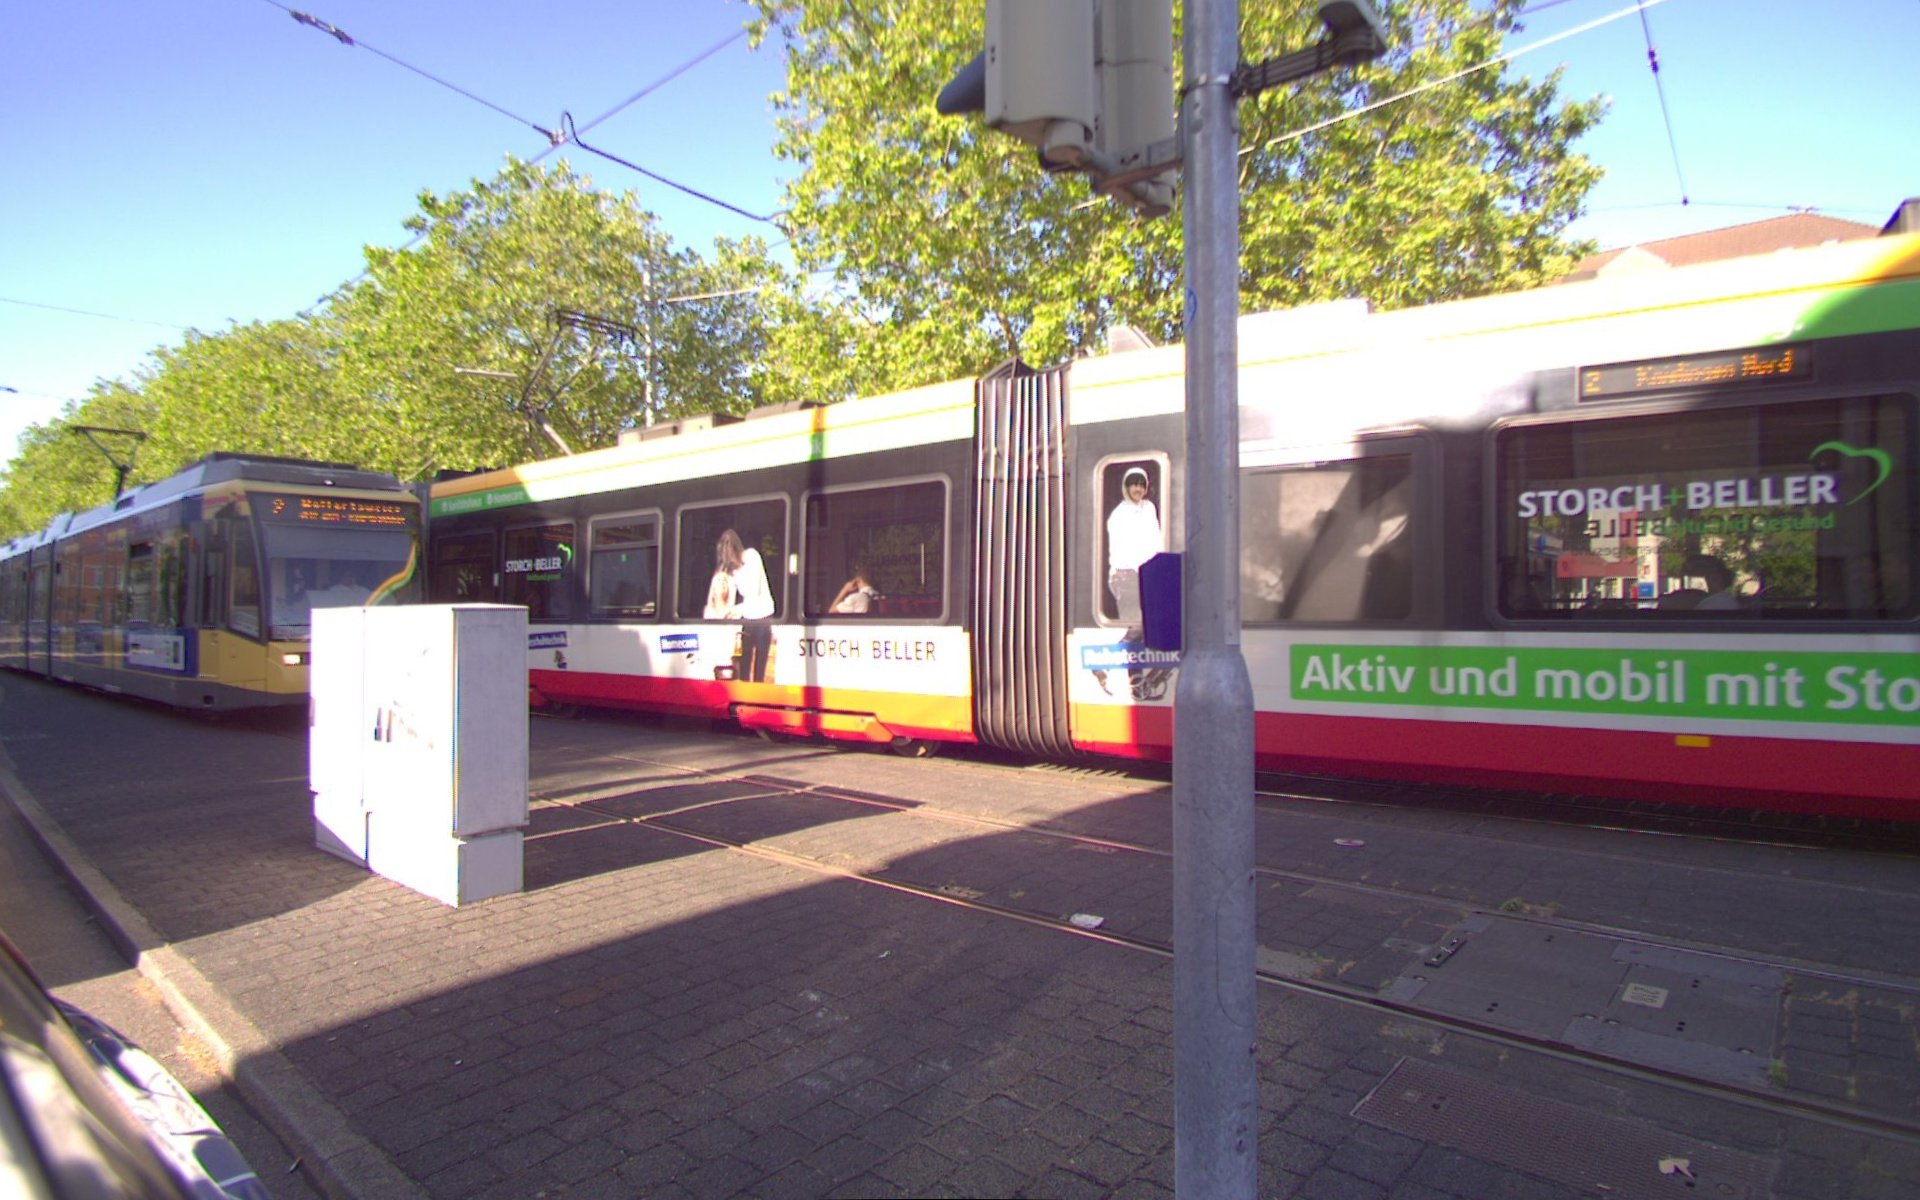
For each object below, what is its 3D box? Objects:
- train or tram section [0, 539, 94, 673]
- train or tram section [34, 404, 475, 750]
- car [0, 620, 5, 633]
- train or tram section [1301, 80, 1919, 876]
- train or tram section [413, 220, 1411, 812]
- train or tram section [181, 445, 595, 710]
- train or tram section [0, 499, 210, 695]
[{"bbox_3d":[-30.824,0.285,32.510,12.646,3.692,2.683,-1,-1,41],"label":"train or tram section"},{"bbox_3d":[-11.814,-0.136,15.984,12.646,3.692,2.683,-1,-1,41],"label":"train or tram section"},{"bbox_3d":[-133.936,3.685,140.455,3.748,1.798,1.674,-1,1,41],"label":"car"},{"bbox_3d":[8.051,-0.629,4.445,12.080,3.843,2.910,-1,-1,32],"label":"train or tram section"},{"bbox_3d":[-1.974,-0.437,11.701,12.805,3.843,2.903,-1,-1,39],"label":"train or tram section"},{"bbox_3d":[-11.937,-0.209,19.998,13.045,3.843,2.902,-1,-1,41],"label":"train or tram section"},{"bbox_3d":[-21.333,0.060,24.277,12.646,3.692,2.683,-1,-1,41],"label":"train or tram section"}]
